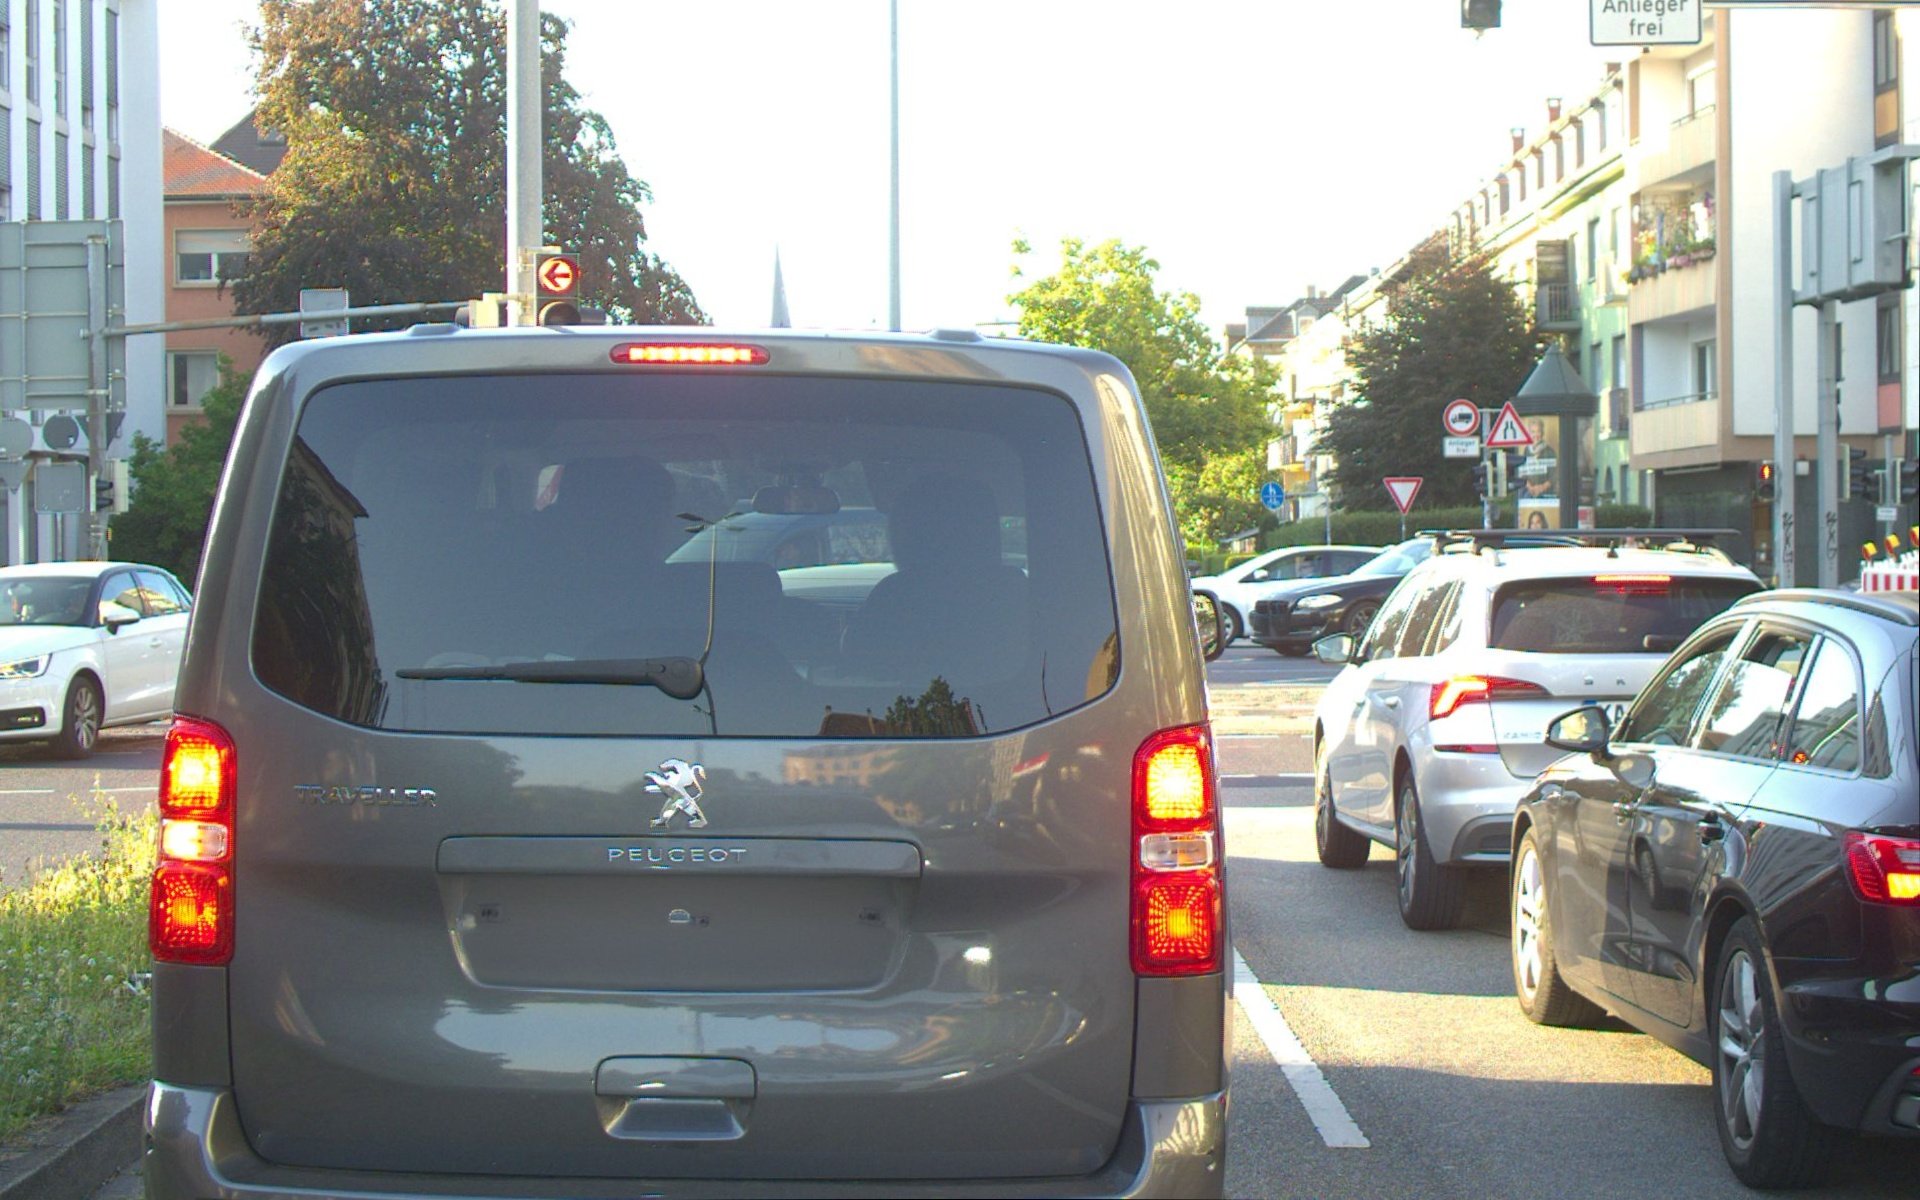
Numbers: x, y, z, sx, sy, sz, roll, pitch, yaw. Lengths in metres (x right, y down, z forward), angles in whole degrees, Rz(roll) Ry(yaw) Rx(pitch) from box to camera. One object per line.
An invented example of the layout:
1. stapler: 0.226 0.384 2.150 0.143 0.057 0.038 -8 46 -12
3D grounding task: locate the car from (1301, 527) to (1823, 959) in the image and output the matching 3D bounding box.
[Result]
1. car: 2.462 0.511 14.866 1.528 1.608 3.745 1 1 -1

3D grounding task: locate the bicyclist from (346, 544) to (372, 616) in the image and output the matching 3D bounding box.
1. bicyclist: -12.662 -0.429 72.472 0.462 1.516 0.469 0 1 -1

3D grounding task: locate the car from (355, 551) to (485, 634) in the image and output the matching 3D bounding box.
1. car: -9.779 -0.163 62.471 1.856 1.415 4.001 -1 1 -2

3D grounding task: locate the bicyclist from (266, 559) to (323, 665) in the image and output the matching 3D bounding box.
1. bicyclist: -12.791 0.234 66.117 0.834 2.007 1.064 1 0 1

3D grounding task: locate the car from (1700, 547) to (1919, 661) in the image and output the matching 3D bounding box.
1. car: 13.019 0.044 49.806 4.117 1.588 1.795 -1 0 -5

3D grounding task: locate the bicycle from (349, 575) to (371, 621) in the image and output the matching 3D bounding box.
1. bicycle: -12.648 -0.043 72.460 0.291 0.945 1.072 0 1 -1

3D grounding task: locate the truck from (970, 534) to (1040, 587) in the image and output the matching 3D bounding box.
1. truck: 1.840 -1.594 138.422 2.128 2.079 4.630 0 1 9

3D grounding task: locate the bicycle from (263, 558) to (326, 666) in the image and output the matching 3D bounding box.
1. bicycle: -12.792 0.211 66.121 0.715 2.007 2.564 0 1 -1

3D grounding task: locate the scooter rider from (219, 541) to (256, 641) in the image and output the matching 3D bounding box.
1. scooter rider: -12.254 -0.161 58.331 0.481 1.691 0.636 0 1 -1

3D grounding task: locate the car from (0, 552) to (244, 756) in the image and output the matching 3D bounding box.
1. car: -6.947 0.370 25.906 1.692 1.383 3.685 -1 1 11

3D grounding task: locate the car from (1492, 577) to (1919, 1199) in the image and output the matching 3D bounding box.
1. car: 2.631 0.681 9.224 1.681 1.416 4.214 1 1 -1

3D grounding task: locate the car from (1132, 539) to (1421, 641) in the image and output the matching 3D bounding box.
1. car: 4.406 -0.153 48.154 3.781 1.368 1.651 -1 1 -6

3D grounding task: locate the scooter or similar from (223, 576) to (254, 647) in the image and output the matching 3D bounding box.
1. scooter or similar: -12.260 0.190 58.422 0.285 1.184 1.169 0 1 -1

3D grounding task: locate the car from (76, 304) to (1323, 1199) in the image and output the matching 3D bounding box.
1. car: -0.435 0.448 7.586 1.907 1.857 4.527 1 1 -1

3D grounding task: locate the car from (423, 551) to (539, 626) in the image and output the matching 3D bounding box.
1. car: -9.451 -0.252 68.038 1.856 1.415 4.001 -1 1 -2

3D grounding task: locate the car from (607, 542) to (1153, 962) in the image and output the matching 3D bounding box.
1. car: -0.315 0.525 14.625 1.993 1.525 4.000 0 1 -1

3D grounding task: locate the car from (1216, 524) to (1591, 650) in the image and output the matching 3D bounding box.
1. car: 5.406 -0.175 41.937 4.227 1.437 1.703 -1 1 -21
